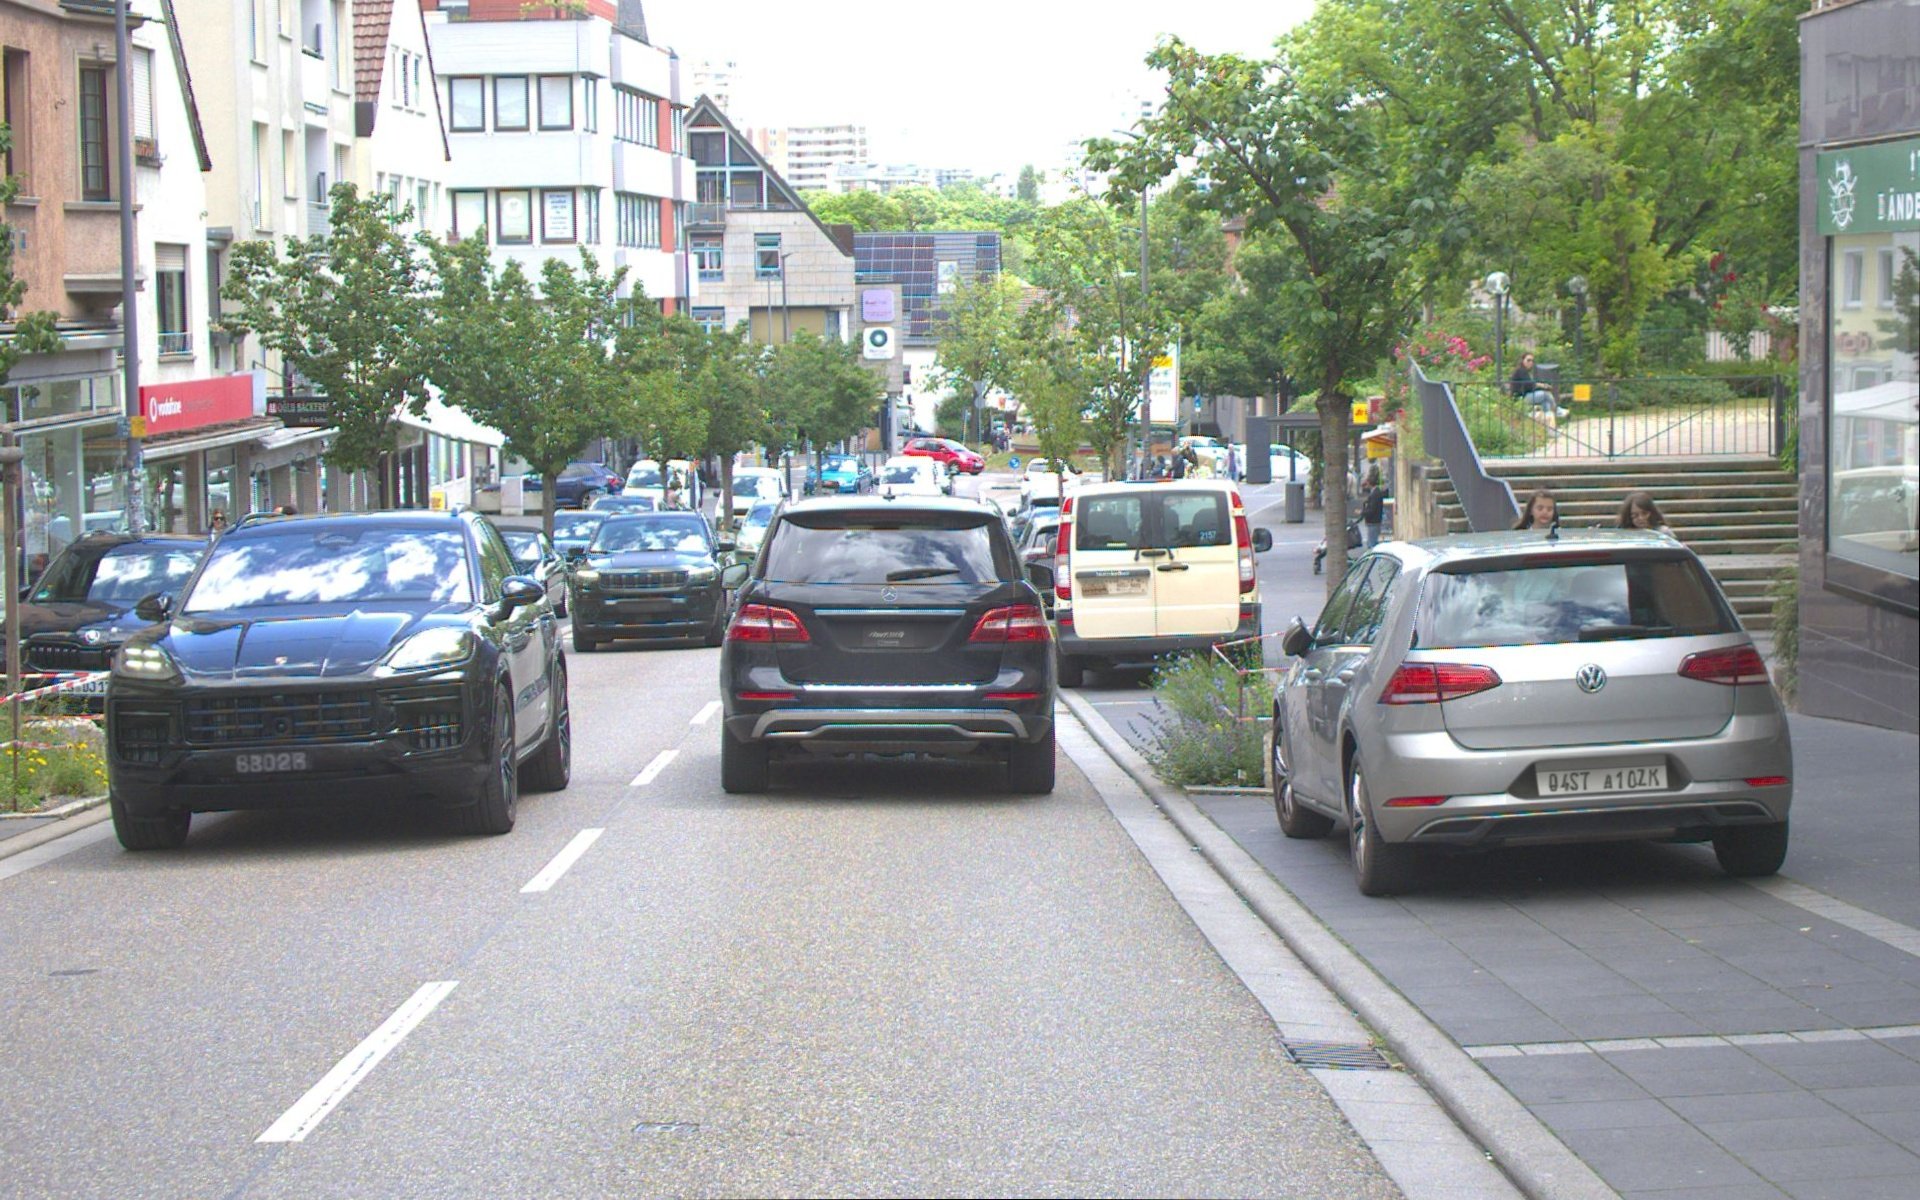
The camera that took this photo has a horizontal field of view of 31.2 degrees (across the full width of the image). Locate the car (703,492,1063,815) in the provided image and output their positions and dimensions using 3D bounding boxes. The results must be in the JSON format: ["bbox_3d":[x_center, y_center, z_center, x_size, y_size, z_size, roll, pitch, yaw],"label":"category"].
[{"bbox_3d":[-0.441,0.228,20.881,1.943,1.734,4.179,1,2,-1],"label":"car"}]

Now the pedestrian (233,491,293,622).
[{"bbox_3d":[-8.903,-0.557,43.926,0.641,1.662,0.720,0,1,-2],"label":"pedestrian"}]

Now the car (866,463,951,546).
[{"bbox_3d":[-1.486,-2.805,101.279,2.174,2.356,4.622,-1,1,3],"label":"car"}]

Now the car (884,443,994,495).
[{"bbox_3d":[-0.855,-5.331,139.888,4.192,2.023,1.784,0,1,33],"label":"car"}]

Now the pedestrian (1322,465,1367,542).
[{"bbox_3d":[9.912,-2.491,88.562,1.050,1.906,0.937,-3,1,6],"label":"pedestrian"}]

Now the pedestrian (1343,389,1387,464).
[{"bbox_3d":[11.985,-5.121,101.756,1.012,2.143,1.067,-2,1,18],"label":"pedestrian"}]

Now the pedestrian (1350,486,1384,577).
[{"bbox_3d":[7.221,-1.217,60.994,0.568,1.581,0.666,-1,1,8],"label":"pedestrian"}]

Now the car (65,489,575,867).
[{"bbox_3d":[-3.274,0.317,18.494,1.992,1.712,4.447,-2,1,-2],"label":"car"}]

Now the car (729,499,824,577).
[{"bbox_3d":[-3.723,-1.280,70.257,1.812,1.503,4.001,-1,2,-2],"label":"car"}]

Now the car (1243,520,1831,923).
[{"bbox_3d":[2.397,0.422,15.302,1.748,1.460,4.075,-3,1,-2],"label":"car"}]

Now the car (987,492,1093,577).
[{"bbox_3d":[1.534,-1.311,67.411,1.938,1.539,4.707,-1,2,0],"label":"car"}]

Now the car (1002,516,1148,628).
[{"bbox_3d":[1.636,-0.445,50.450,1.938,1.452,4.707,-1,2,0],"label":"car"}]

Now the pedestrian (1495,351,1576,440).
[{"bbox_3d":[8.190,-2.910,48.969,0.990,1.227,0.984,0,1,1],"label":"pedestrian"}]

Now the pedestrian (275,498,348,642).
[{"bbox_3d":[-7.536,-0.358,39.987,0.727,1.662,0.720,0,1,-2],"label":"pedestrian"}]

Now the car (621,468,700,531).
[{"bbox_3d":[-8.178,-2.778,94.151,1.926,1.623,4.415,1,2,-3],"label":"car"}]

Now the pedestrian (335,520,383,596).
[{"bbox_3d":[-10.280,-0.724,58.824,0.686,1.277,0.676,-1,1,-1],"label":"pedestrian"}]

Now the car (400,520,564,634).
[{"bbox_3d":[-6.964,-0.372,50.431,1.926,1.491,4.263,1,2,-2],"label":"car"}]

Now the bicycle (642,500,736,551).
[{"bbox_3d":[-6.140,-1.683,77.877,1.956,1.054,0.712,-4,2,-28],"label":"bicycle"}]

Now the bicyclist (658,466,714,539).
[{"bbox_3d":[-6.203,-2.200,77.831,0.962,1.604,0.730,-4,2,-27],"label":"bicyclist"}]

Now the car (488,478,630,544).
[{"bbox_3d":[-11.814,-2.625,101.477,3.986,1.744,2.000,-3,1,-4],"label":"car"}]

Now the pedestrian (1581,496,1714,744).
[{"bbox_3d":[4.673,0.126,23.387,0.671,1.627,0.670,-3,1,-3],"label":"pedestrian"}]

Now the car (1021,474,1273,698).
[{"bbox_3d":[1.692,-0.211,32.641,1.938,1.885,4.707,-3,2,-1],"label":"car"}]

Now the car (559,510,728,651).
[{"bbox_3d":[-3.774,-0.271,41.524,1.764,1.611,4.033,-1,1,-2],"label":"car"}]

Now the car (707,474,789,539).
[{"bbox_3d":[-5.608,-2.512,91.204,1.926,1.623,4.263,2,2,-1],"label":"car"}]

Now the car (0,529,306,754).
[{"bbox_3d":[-6.275,0.249,26.366,1.926,1.491,4.263,-1,2,-4],"label":"car"}]

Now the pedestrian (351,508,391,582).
[{"bbox_3d":[-10.305,-0.971,60.160,0.565,1.277,0.759,0,1,-2],"label":"pedestrian"}]

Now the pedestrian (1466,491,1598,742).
[{"bbox_3d":[3.830,0.100,23.053,0.671,1.627,0.670,-3,1,-3],"label":"pedestrian"}]
